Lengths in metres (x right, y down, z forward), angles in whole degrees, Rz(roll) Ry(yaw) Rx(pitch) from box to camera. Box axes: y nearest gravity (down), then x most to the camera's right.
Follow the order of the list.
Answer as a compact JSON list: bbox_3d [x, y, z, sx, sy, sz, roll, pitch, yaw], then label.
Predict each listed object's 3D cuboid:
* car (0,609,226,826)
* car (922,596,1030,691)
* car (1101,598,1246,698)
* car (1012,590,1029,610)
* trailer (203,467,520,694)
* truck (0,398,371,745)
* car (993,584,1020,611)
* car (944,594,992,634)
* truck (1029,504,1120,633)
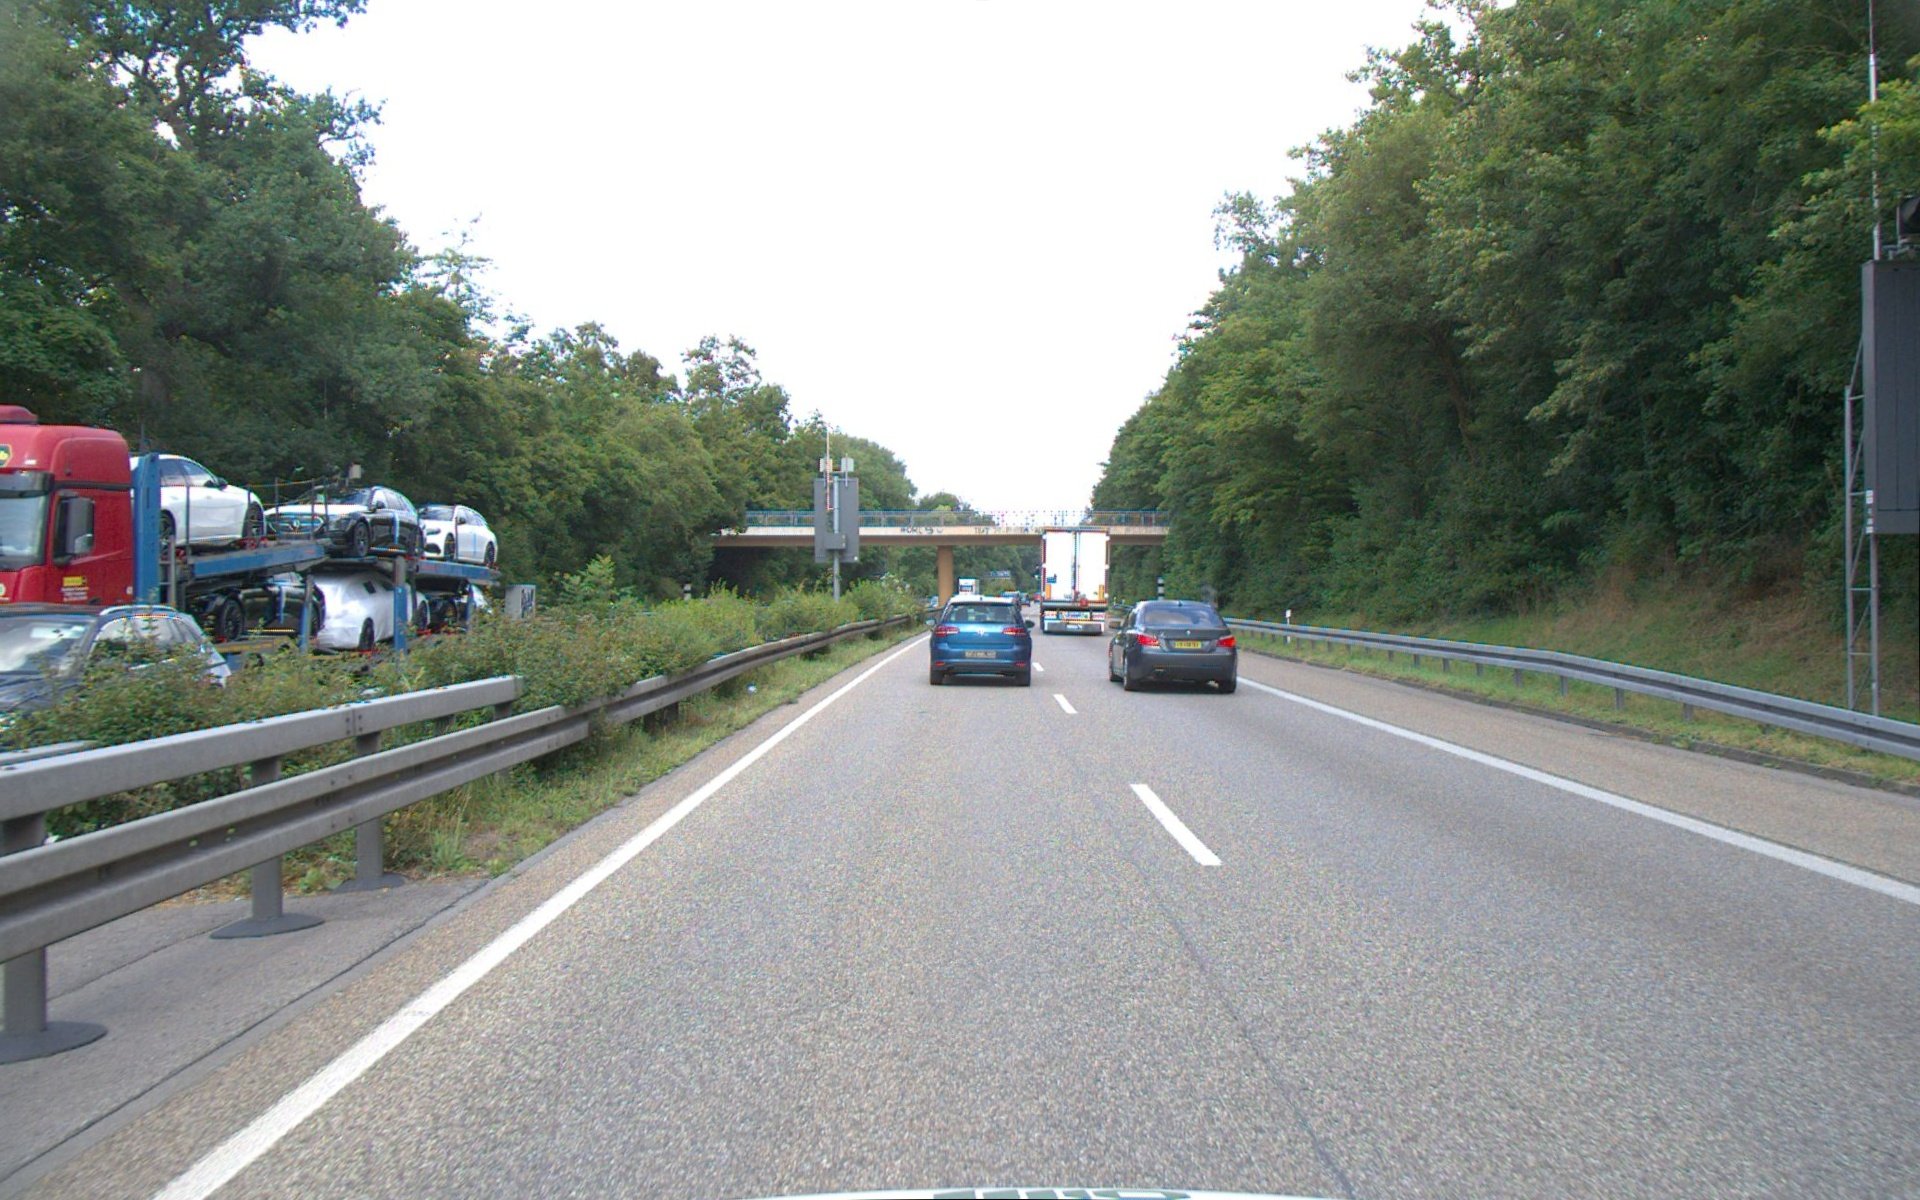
[{"bbox_3d":[-8.031,0.907,14.121,1.640,1.578,4.262,-1,0,-1],"label":"car"},{"bbox_3d":[0.345,0.702,28.804,1.669,1.495,4.002,1,0,3],"label":"car"},{"bbox_3d":[3.500,0.743,27.973,1.738,1.501,4.879,1,0,-1],"label":"car"},{"bbox_3d":[7.288,0.000,198.549,1.952,2.368,4.443,-1,0,1],"label":"car"},{"bbox_3d":[-11.869,-0.367,34.166,2.878,3.900,10.308,-1,0,-1],"label":"trailer"},{"bbox_3d":[-11.794,-0.321,23.882,2.894,3.923,10.322,-1,0,0],"label":"truck"},{"bbox_3d":[3.624,-0.219,128.480,1.913,2.049,4.002,-1,0,3],"label":"car"},{"bbox_3d":[0.358,0.536,65.641,1.630,1.526,4.154,0,0,4],"label":"car"},{"bbox_3d":[4.516,-1.216,67.430,3.175,4.798,11.009,-1,0,1],"label":"truck"}]
